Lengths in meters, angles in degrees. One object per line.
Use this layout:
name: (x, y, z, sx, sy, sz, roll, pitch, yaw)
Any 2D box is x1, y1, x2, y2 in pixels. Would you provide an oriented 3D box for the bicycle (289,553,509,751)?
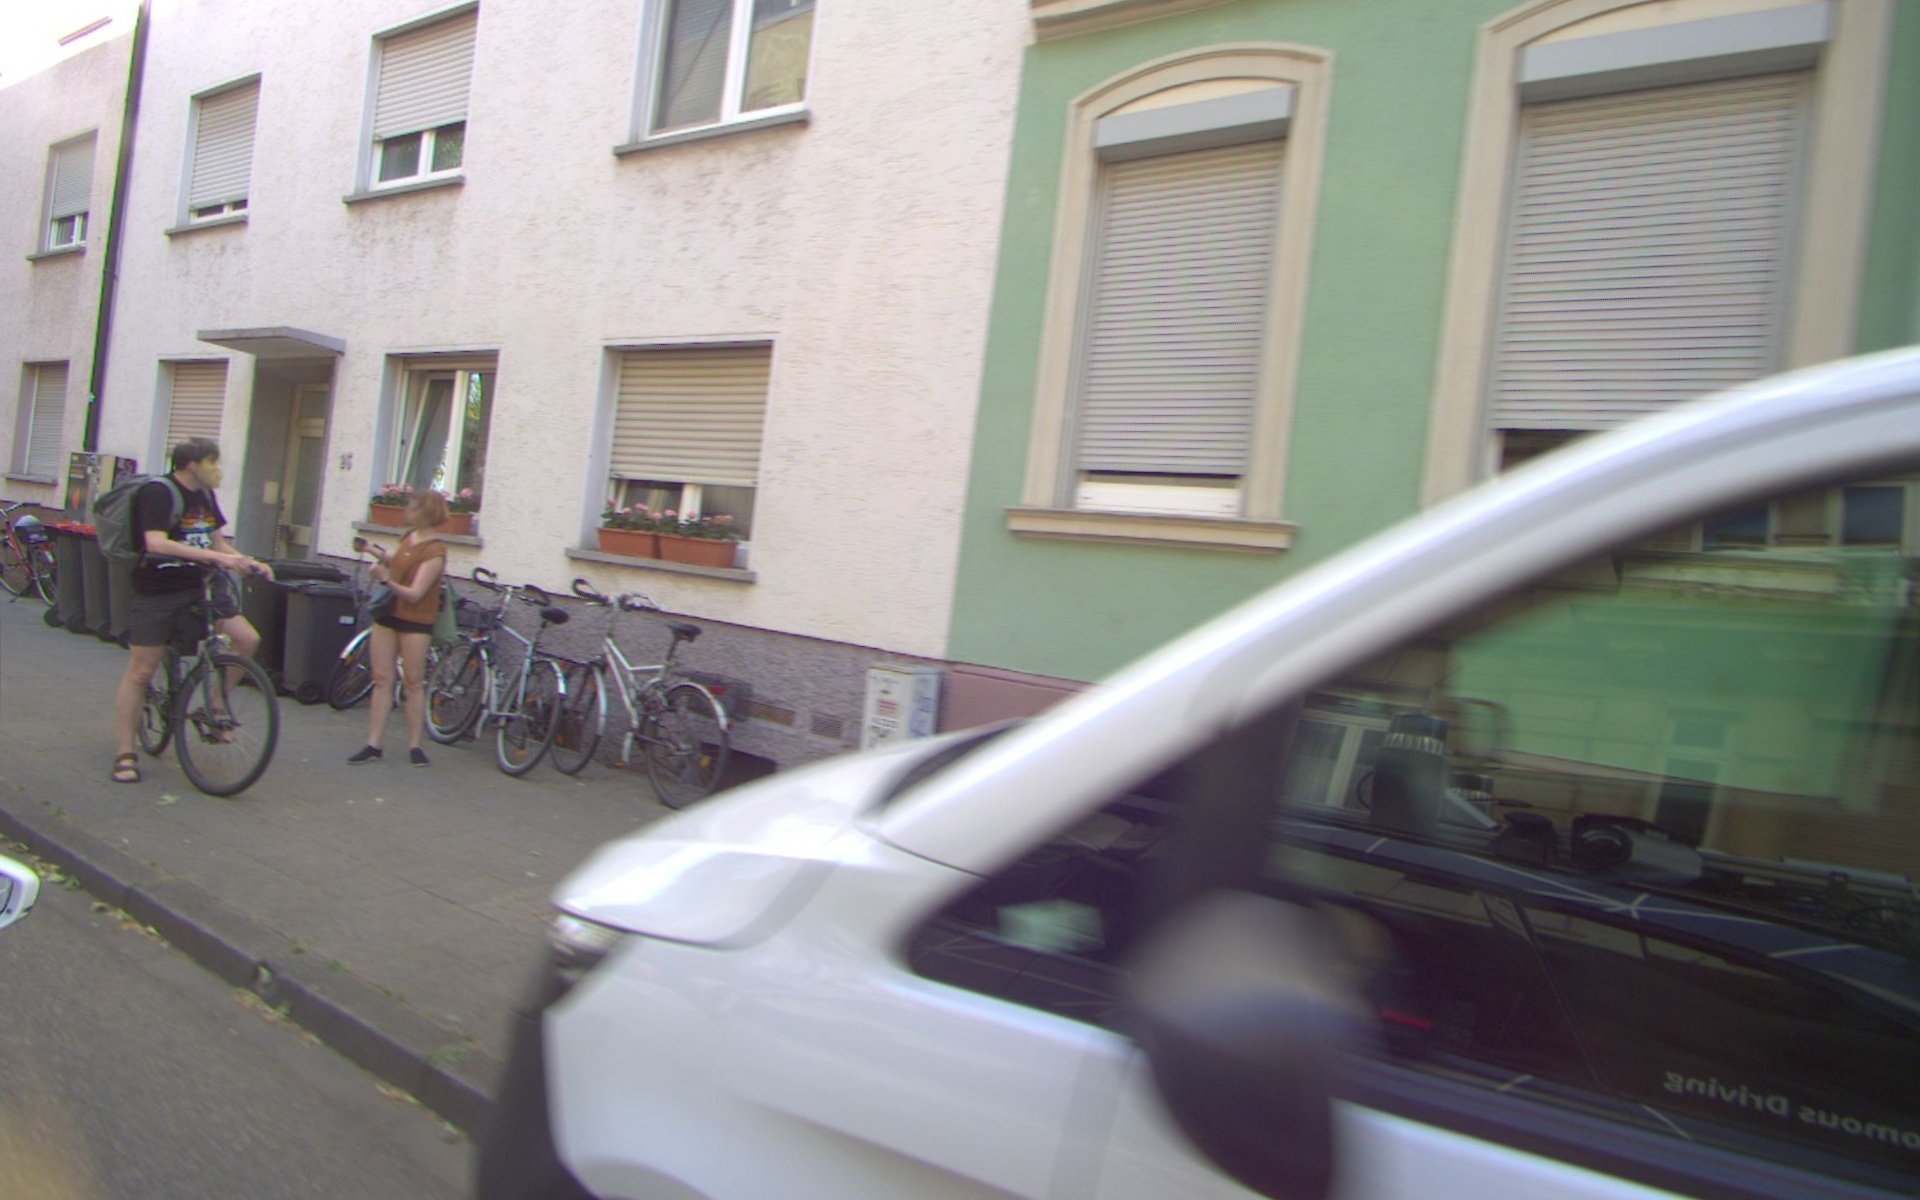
bicycle: (-4.045, 0.331, 7.189, 1.839, 1.167, 0.568, 6, 0, 36)

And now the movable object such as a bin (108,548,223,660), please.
movable object such as a bin: (-7.368, 0.043, 9.338, 0.595, 0.946, 0.606, 7, 0, 32)

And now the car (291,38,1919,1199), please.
car: (1.793, 0.725, 1.030, 5.506, 1.909, 1.983, 7, 3, 31)

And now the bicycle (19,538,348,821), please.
bicycle: (-4.229, 0.352, 5.431, 1.954, 1.152, 0.663, 8, 3, 30)

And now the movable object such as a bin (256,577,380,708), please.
movable object such as a bin: (-5.060, 0.328, 7.932, 0.597, 0.937, 0.577, 7, 2, 32)

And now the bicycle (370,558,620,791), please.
bicycle: (-3.131, 0.419, 6.636, 2.233, 1.221, 0.437, 6, 0, 39)

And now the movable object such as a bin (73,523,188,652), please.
movable object such as a bin: (-7.918, -0.109, 9.609, 0.560, 1.136, 0.628, 6, 0, 32)

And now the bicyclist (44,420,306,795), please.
bicyclist: (-4.183, 0.025, 5.375, 0.808, 1.794, 0.760, 8, 3, 29)

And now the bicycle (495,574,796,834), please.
bicycle: (-1.958, 0.547, 6.049, 2.125, 1.221, 0.405, 6, 0, 35)

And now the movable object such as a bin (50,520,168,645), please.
movable object such as a bin: (-8.377, -0.163, 9.911, 0.583, 1.119, 0.657, 7, 0, 32)

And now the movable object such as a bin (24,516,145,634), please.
movable object such as a bin: (-8.877, -0.242, 10.205, 0.629, 1.112, 0.739, 6, 2, 32)

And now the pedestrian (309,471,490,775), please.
pedestrian: (-3.442, 0.140, 6.178, 0.677, 1.732, 0.653, 6, 0, 43)

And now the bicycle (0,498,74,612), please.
bicycle: (-11.121, -0.559, 11.768, 2.042, 1.187, 0.536, 7, 4, 31)

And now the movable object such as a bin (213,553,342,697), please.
movable object such as a bin: (-5.571, 0.201, 8.225, 0.593, 1.076, 0.616, 7, 2, 31)
